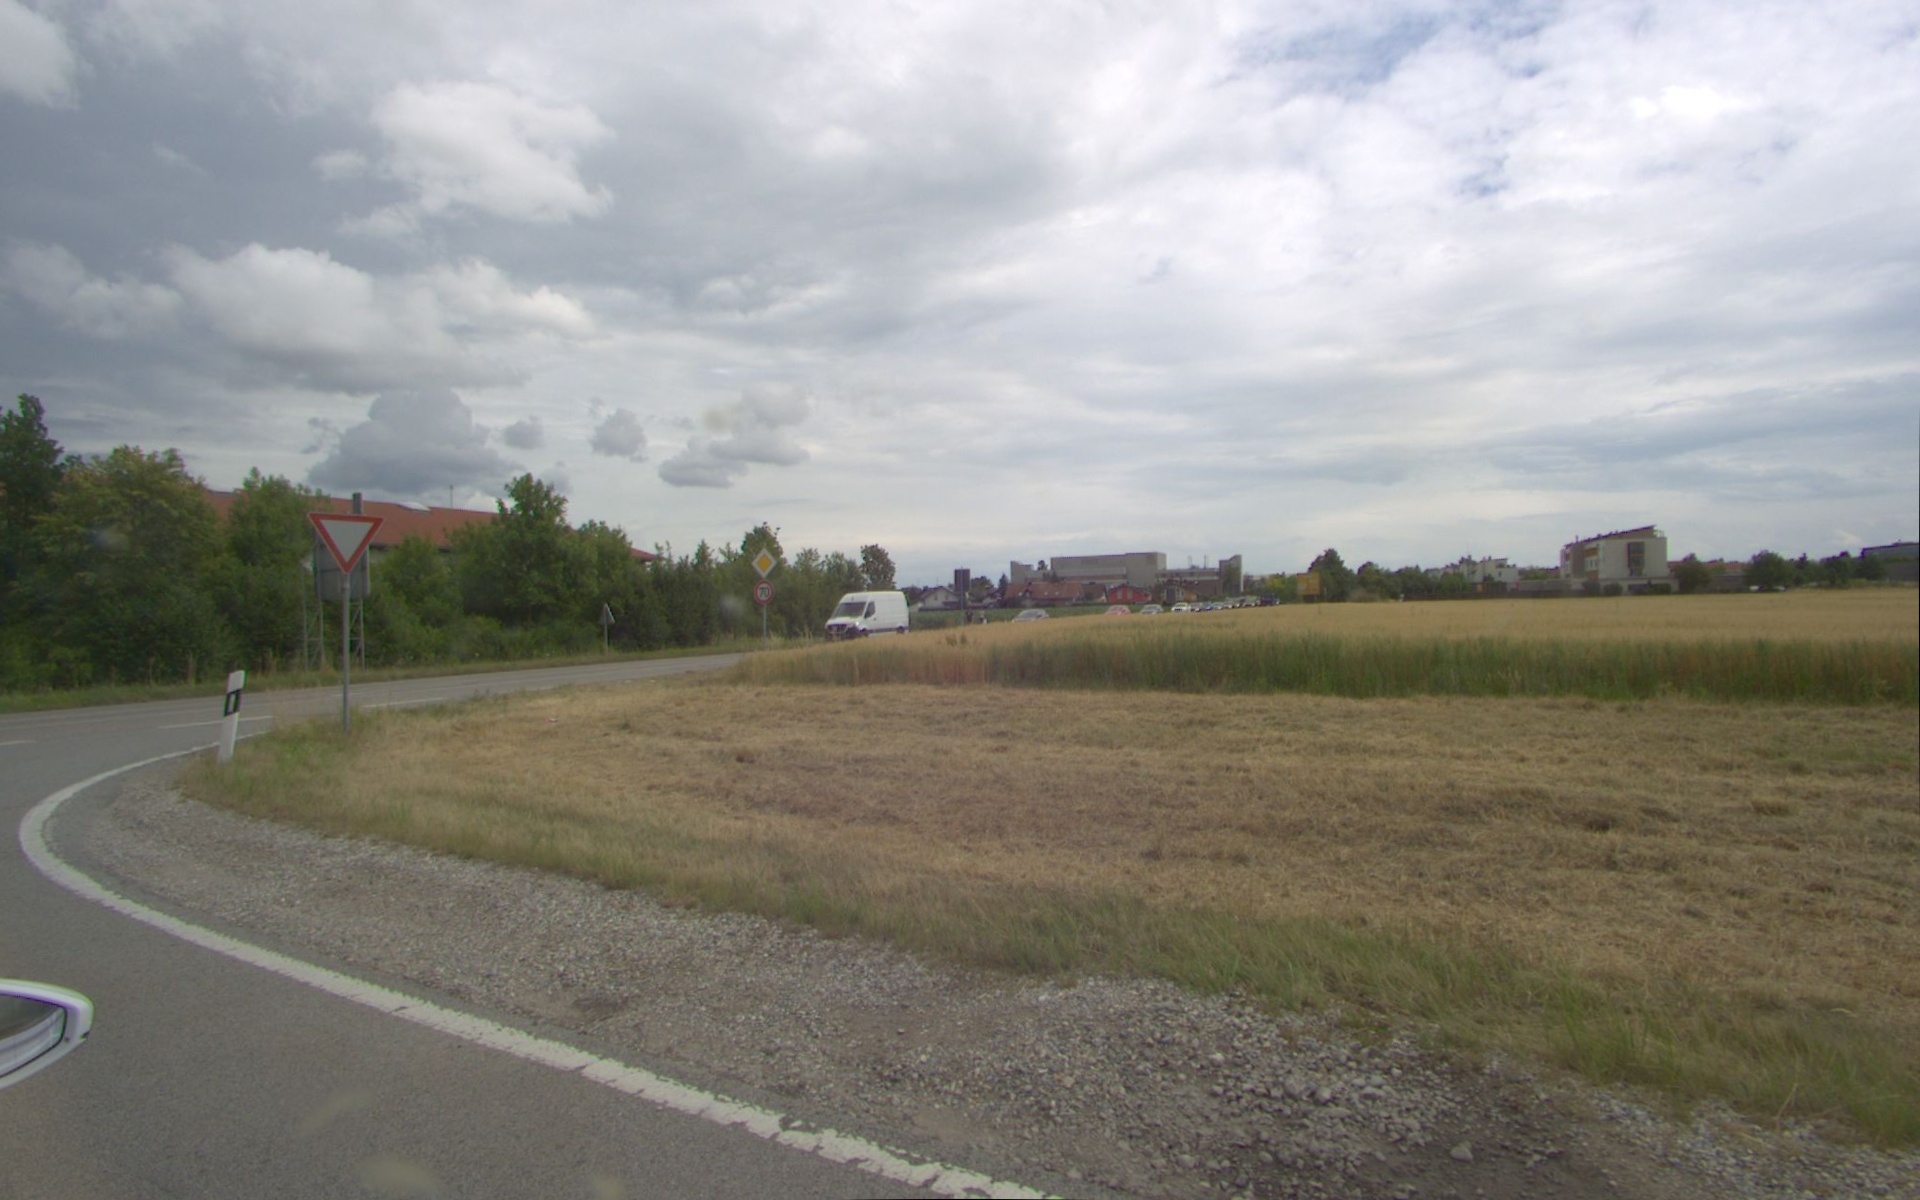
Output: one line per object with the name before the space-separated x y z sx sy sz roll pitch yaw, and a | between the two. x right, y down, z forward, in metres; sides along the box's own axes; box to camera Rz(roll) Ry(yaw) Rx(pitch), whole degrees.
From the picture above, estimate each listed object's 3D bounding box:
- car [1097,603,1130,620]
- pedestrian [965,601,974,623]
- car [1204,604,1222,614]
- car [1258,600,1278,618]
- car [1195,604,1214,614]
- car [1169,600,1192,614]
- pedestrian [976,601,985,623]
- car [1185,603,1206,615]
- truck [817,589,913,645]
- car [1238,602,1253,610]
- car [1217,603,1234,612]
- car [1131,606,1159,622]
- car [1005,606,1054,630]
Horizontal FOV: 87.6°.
car | 13.833 1.007 90.078 1.826 1.486 3.986 -1 0 25
pedestrian | 0.736 0.941 78.841 0.521 1.705 0.626 0 2 20
car | 34.114 1.243 135.129 1.825 1.287 3.519 -1 0 24
car | 47.938 1.415 155.724 2.114 2.675 5.550 0 1 25
car | 31.374 1.135 128.424 1.825 1.287 3.519 -1 0 24
car | 25.304 0.791 114.702 1.825 1.486 3.987 -1 0 24
pedestrian | 1.574 0.946 78.544 0.521 1.705 0.626 0 2 20
car | 28.778 1.080 122.231 1.825 1.287 3.519 -1 0 24
truck | -4.659 0.825 50.230 1.968 2.609 5.997 -2 -1 24
car | 45.893 0.953 161.160 1.825 1.287 3.519 -1 0 24
car | 37.986 1.062 143.393 1.825 1.287 3.519 -1 0 24
car | 18.359 1.380 99.146 1.826 1.486 3.986 -1 0 25
car | 4.847 1.226 69.659 1.968 1.483 4.146 -2 0 26
